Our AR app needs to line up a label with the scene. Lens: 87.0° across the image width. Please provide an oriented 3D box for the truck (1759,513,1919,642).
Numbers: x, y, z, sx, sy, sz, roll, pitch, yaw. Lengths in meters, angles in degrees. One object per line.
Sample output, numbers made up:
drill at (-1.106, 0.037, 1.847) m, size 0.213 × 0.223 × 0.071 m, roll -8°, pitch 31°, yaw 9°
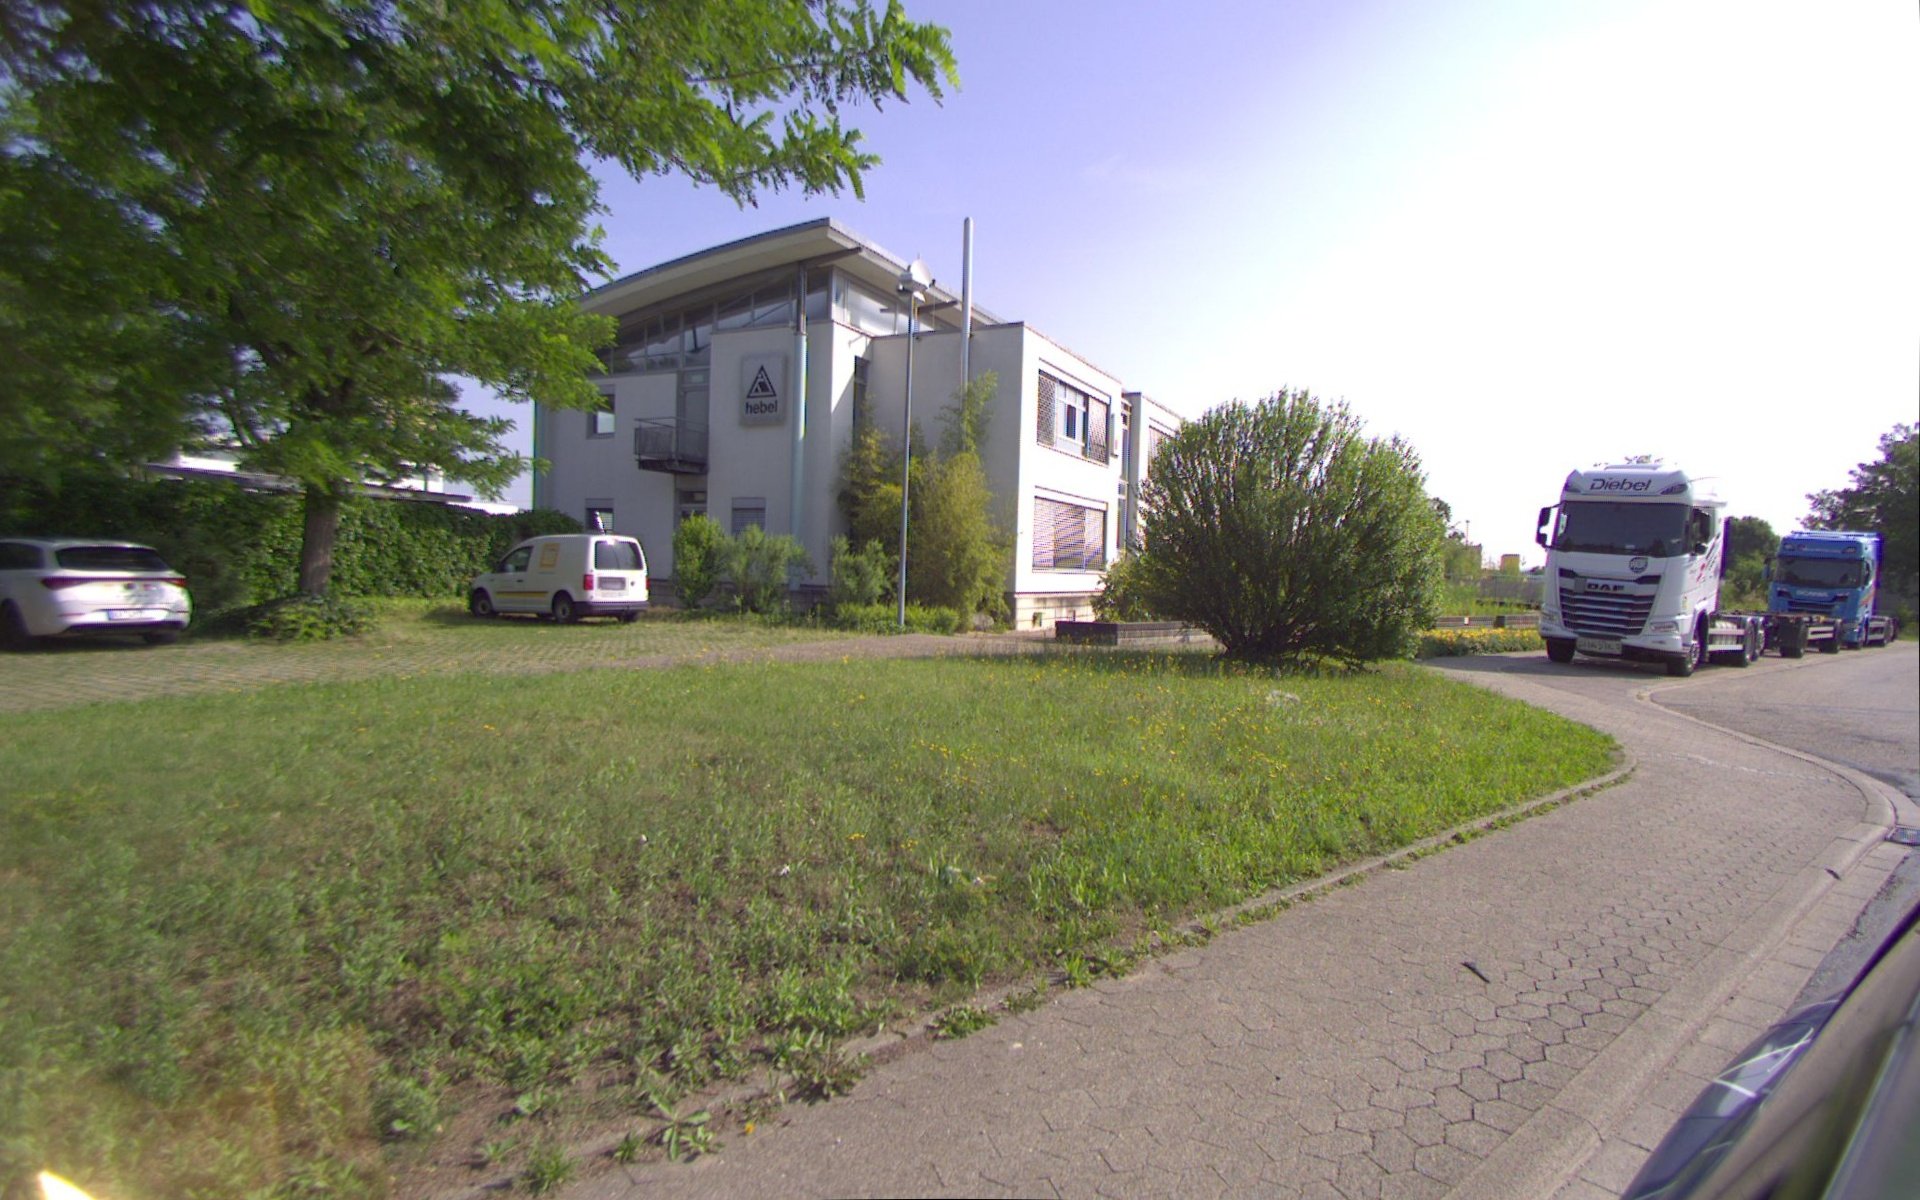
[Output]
truck at (31.462, -0.751, 35.980) m, size 10.397 × 3.988 × 3.041 m, roll 0°, pitch 2°, yaw -42°

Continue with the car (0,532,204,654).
car at (-12.211, -0.174, 13.688) m, size 4.007 × 1.422 × 1.724 m, roll 3°, pitch 2°, yaw 30°

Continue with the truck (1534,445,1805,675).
truck at (15.254, -0.817, 21.437) m, size 8.433 × 4.029 × 2.558 m, roll 0°, pitch 4°, yaw -42°

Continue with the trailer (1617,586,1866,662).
trailer at (20.976, 0.454, 26.598) m, size 13.891 × 1.408 × 2.552 m, roll 0°, pitch 5°, yaw -42°

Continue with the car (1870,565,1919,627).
car at (53.748, -0.170, 53.602) m, size 8.130 × 3.276 × 2.621 m, roll 2°, pitch 1°, yaw 45°

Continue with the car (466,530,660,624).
car at (-8.230, -0.523, 20.927) m, size 3.882 × 1.772 × 1.734 m, roll 3°, pitch 2°, yaw 31°
